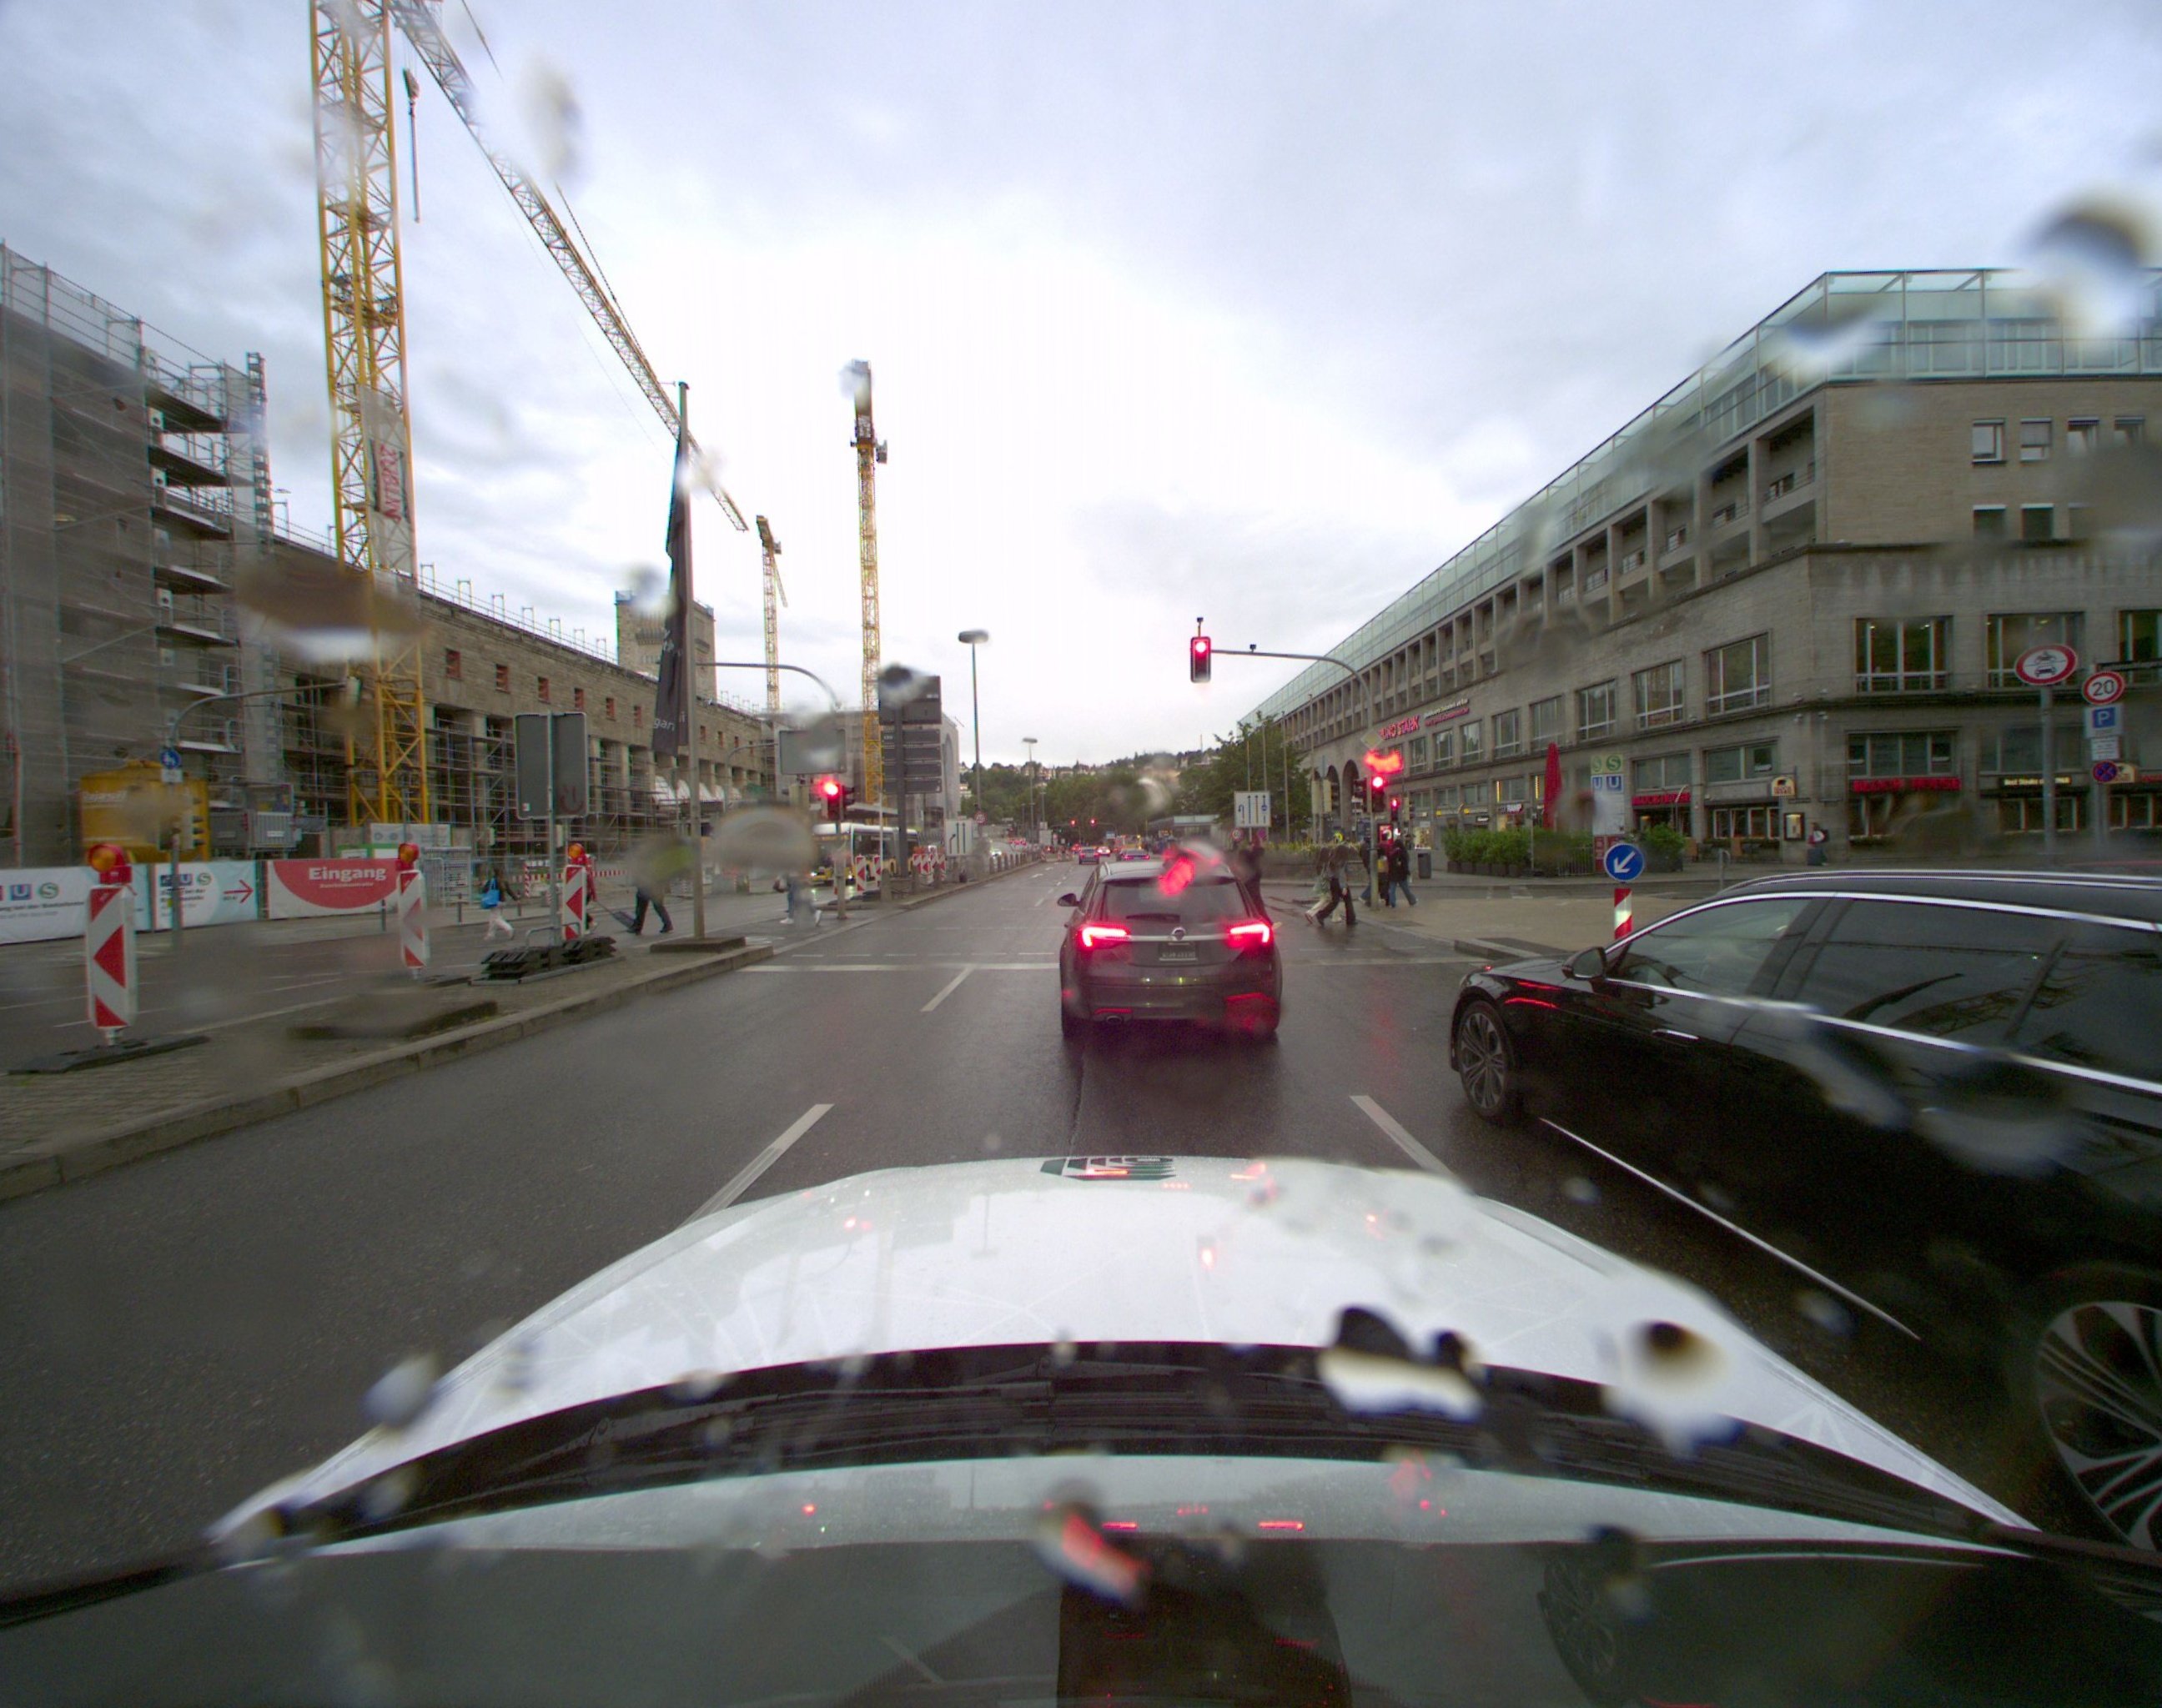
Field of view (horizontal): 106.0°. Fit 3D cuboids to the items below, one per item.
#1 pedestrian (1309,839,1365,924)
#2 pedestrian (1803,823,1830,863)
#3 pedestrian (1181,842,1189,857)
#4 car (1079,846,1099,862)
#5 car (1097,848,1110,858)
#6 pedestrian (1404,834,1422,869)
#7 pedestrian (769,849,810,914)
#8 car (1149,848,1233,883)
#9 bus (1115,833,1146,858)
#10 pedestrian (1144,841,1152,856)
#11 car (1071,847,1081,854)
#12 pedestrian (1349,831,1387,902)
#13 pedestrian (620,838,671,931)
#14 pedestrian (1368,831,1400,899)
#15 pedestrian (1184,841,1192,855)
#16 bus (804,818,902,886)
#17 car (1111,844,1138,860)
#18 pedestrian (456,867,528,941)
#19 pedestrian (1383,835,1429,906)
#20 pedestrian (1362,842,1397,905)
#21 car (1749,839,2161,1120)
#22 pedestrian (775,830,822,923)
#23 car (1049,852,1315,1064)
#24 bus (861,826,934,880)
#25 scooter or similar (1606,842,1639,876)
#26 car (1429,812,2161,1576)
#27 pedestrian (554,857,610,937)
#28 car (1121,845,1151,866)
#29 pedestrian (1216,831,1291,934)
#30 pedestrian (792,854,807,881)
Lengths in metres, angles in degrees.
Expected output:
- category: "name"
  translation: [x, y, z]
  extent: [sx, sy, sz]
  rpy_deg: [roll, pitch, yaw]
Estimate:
- category: "pedestrian"
  translation: [5.021, 0.524, 15.992]
  extent: [0.791, 1.626, 0.899]
  rpy_deg: [0, -1, -2]
- category: "pedestrian"
  translation: [28.416, -0.404, 31.474]
  extent: [0.750, 1.512, 0.721]
  rpy_deg: [-1, -1, 43]
- category: "pedestrian"
  translation: [12.160, -0.544, 95.286]
  extent: [0.761, 1.690, 0.824]
  rpy_deg: [0, -1, -3]
- category: "car"
  translation: [0.747, 0.039, 74.074]
  extent: [1.747, 1.398, 4.538]
  rpy_deg: [0, 0, 0]
- category: "car"
  translation: [3.328, -0.108, 119.721]
  extent: [1.839, 1.398, 3.565]
  rpy_deg: [0, 0, 2]
- category: "pedestrian"
  translation: [19.675, -0.137, 48.247]
  extent: [0.756, 2.014, 0.830]
  rpy_deg: [-1, -1, 43]
- category: "pedestrian"
  translation: [-7.246, 0.666, 20.272]
  extent: [0.873, 1.561, 0.783]
  rpy_deg: [0, -1, -13]
- category: "car"
  translation: [4.662, 0.481, 35.000]
  extent: [1.855, 1.398, 3.635]
  rpy_deg: [0, 0, -26]
- category: "bus"
  translation: [7.211, -1.117, 120.949]
  extent: [4.158, 3.469, 14.660]
  rpy_deg: [0, 0, 2]
- category: "pedestrian"
  translation: [11.509, -0.956, 140.157]
  extent: [1.194, 2.435, 1.229]
  rpy_deg: [0, -1, 3]
- category: "car"
  translation: [-0.931, -0.624, 150.254]
  extent: [1.752, 1.398, 3.565]
  rpy_deg: [0, 0, 2]
- category: "pedestrian"
  translation: [7.041, 0.299, 19.969]
  extent: [0.753, 1.717, 0.466]
  rpy_deg: [0, -1, -2]
- category: "pedestrian"
  translation: [-8.859, 0.607, 16.579]
  extent: [0.576, 1.836, 0.820]
  rpy_deg: [0, -1, 2]
- category: "pedestrian"
  translation: [7.902, 0.279, 21.235]
  extent: [0.563, 1.752, 0.684]
  rpy_deg: [-1, -1, 44]
- category: "pedestrian"
  translation: [12.379, -0.685, 94.148]
  extent: [0.761, 1.690, 0.824]
  rpy_deg: [0, -1, -3]
- category: "bus"
  translation: [-13.386, -0.087, 48.845]
  extent: [2.658, 3.602, 10.243]
  rpy_deg: [0, 0, 2]
- category: "car"
  translation: [3.991, -0.149, 75.179]
  extent: [1.751, 1.398, 4.392]
  rpy_deg: [0, 0, -6]
- category: "pedestrian"
  translation: [-12.875, 1.069, 17.837]
  extent: [0.912, 1.563, 0.899]
  rpy_deg: [0, -1, -2]
- category: "pedestrian"
  translation: [7.527, 0.375, 18.871]
  extent: [0.797, 1.608, 0.619]
  rpy_deg: [0, -1, -2]
- category: "pedestrian"
  translation: [7.119, 0.458, 19.436]
  extent: [0.677, 1.474, 0.366]
  rpy_deg: [0, -1, -3]
- category: "car"
  translation: [6.659, 0.663, 4.768]
  extent: [1.868, 1.486, 4.527]
  rpy_deg: [0, 0, 1]
- category: "pedestrian"
  translation: [-5.881, 0.454, 16.993]
  extent: [0.798, 1.890, 0.618]
  rpy_deg: [0, -1, -7]
- category: "car"
  translation: [0.760, 0.744, 7.748]
  extent: [1.868, 1.486, 4.001]
  rpy_deg: [0, 0, 1]
- category: "bus"
  translation: [-13.065, -0.039, 59.029]
  extent: [2.658, 3.602, 10.215]
  rpy_deg: [0, 0, 2]
- category: "scooter or similar"
  translation: [19.371, 0.191, 29.133]
  extent: [0.290, 1.189, 1.014]
  rpy_deg: [0, -1, -17]
- category: "car"
  translation: [3.039, 0.668, 2.802]
  extent: [1.787, 1.501, 4.629]
  rpy_deg: [0, 0, 1]
- category: "pedestrian"
  translation: [-11.147, 0.939, 18.214]
  extent: [0.797, 1.717, 0.619]
  rpy_deg: [-3, 0, -2]
- category: "car"
  translation: [3.857, 0.126, 58.001]
  extent: [1.748, 1.398, 4.647]
  rpy_deg: [0, 0, -1]
- category: "pedestrian"
  translation: [3.085, 0.504, 14.637]
  extent: [1.093, 1.751, 0.653]
  rpy_deg: [-3, -1, -1]
- category: "pedestrian"
  translation: [-19.699, 0.919, 56.975]
  extent: [0.659, 1.855, 0.799]
  rpy_deg: [-2, 0, 1]
